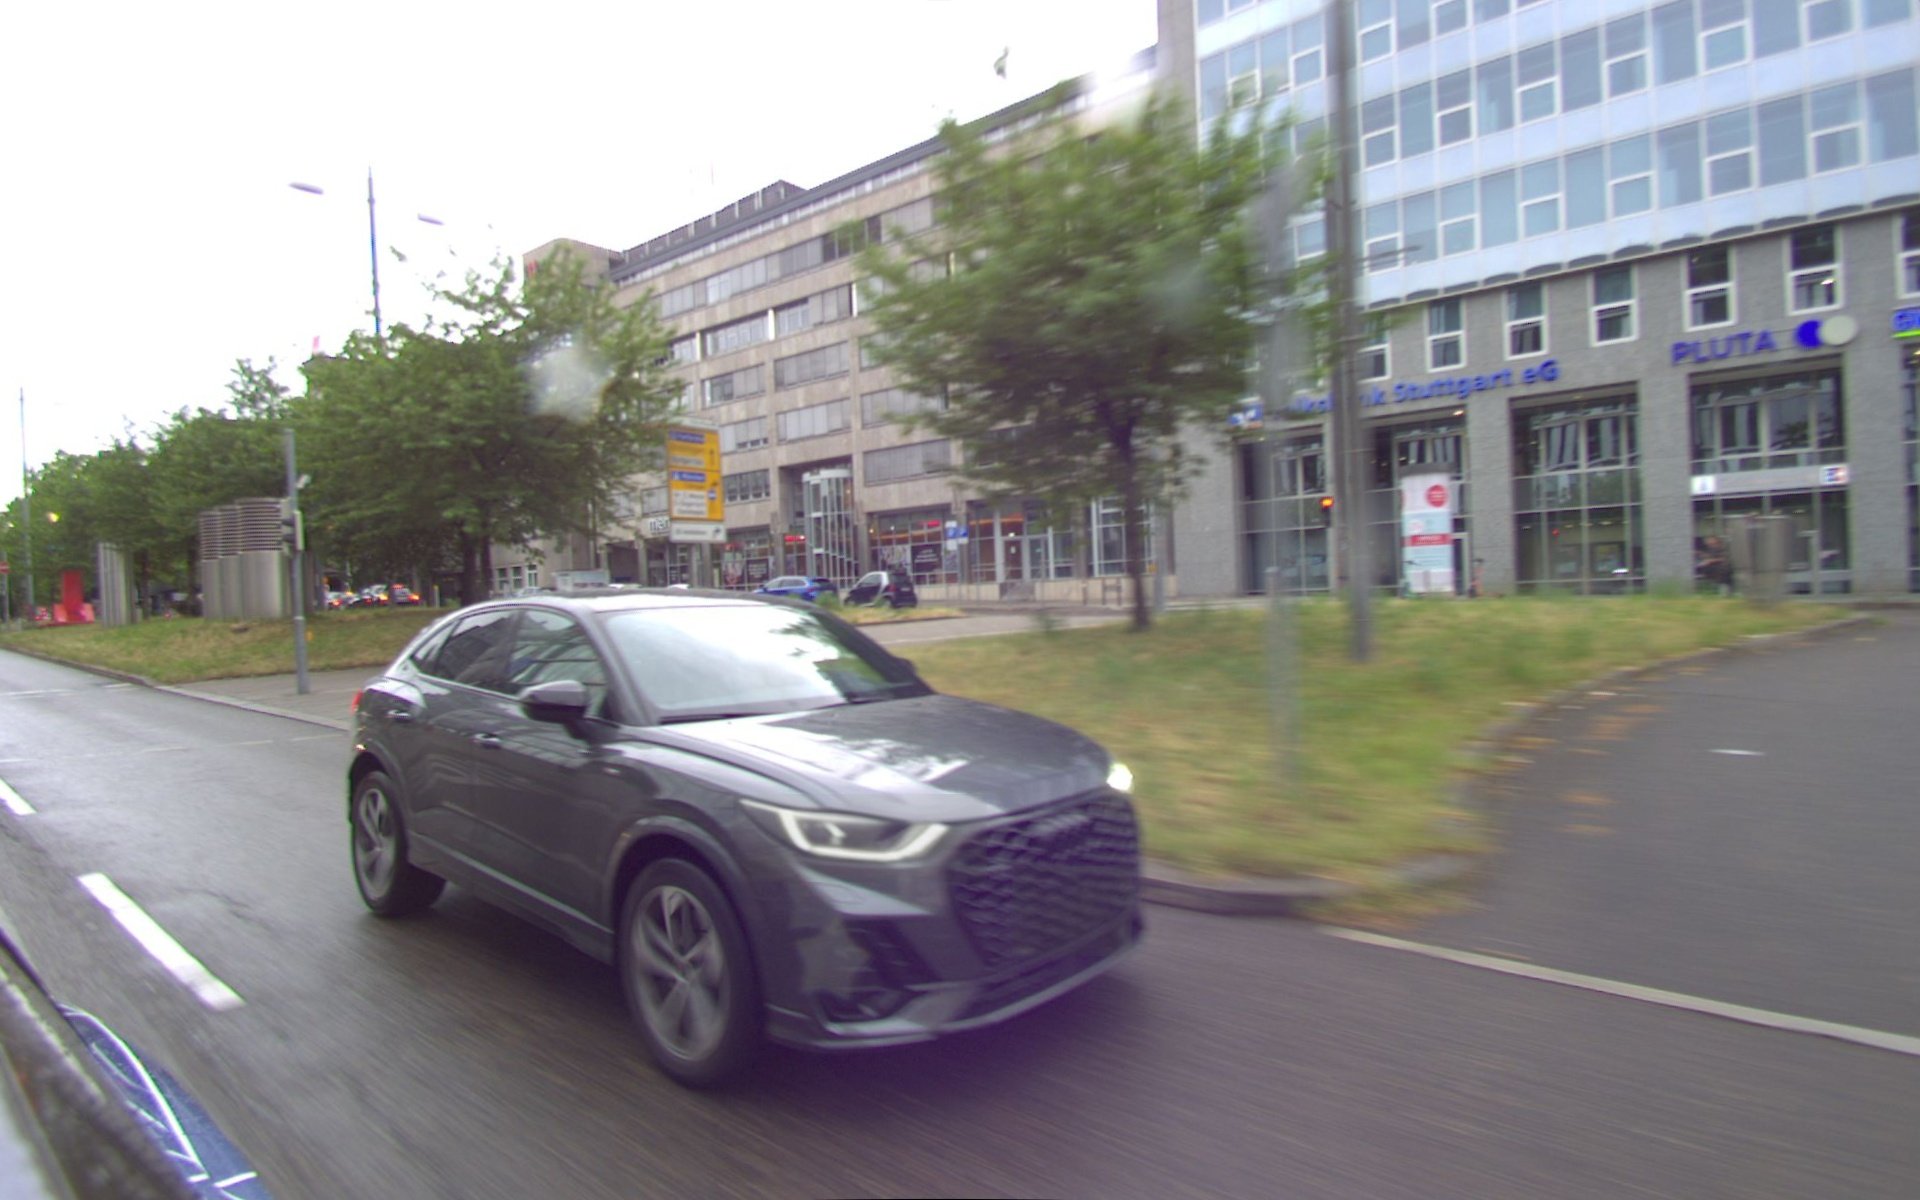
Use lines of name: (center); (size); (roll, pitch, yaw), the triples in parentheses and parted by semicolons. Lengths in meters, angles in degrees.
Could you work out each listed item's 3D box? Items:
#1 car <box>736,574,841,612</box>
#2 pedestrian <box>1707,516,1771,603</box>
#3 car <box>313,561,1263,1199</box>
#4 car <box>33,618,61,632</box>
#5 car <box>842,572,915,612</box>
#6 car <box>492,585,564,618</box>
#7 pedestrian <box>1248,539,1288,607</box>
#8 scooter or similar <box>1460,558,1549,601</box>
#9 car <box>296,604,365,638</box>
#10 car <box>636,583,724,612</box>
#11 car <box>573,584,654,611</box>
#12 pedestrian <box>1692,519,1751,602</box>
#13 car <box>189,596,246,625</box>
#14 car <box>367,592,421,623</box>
car: (-7.057, -0.269, 41.377); (4.312, 1.395, 1.660); (-1, 3, 37)
pedestrian: (18.866, -0.960, 24.543); (1.030, 2.029, 1.046); (-1, 1, 28)
car: (-1.122, 0.675, 4.485); (4.344, 1.529, 1.841); (-1, 1, 42)
car: (-116.459, 3.199, 129.057); (4.105, 1.599, 2.046); (-1, 3, 41)
car: (-3.095, -0.292, 38.321); (2.625, 1.395, 1.227); (-1, 3, 41)
car: (-22.803, 0.089, 53.408); (4.100, 1.591, 1.557); (-1, 3, 37)
pedestrian: (8.878, -0.766, 29.166); (0.928, 1.895, 0.950); (-1, 1, 28)
scooter or similar: (16.309, -0.609, 30.359); (2.243, 1.221, 0.765); (-1, 1, 37)
car: (-32.932, 1.099, 52.885); (4.105, 1.591, 1.856); (-1, 3, 41)
car: (-12.486, -0.112, 45.105); (4.100, 1.130, 1.557); (-1, 3, 37)
car: (-16.645, -0.094, 48.547); (4.100, 1.130, 1.557); (-1, 3, 37)
pedestrian: (19.153, -0.977, 25.473); (1.030, 2.029, 0.844); (-1, 1, 28)
car: (-45.305, 0.626, 61.720); (4.105, 1.591, 1.856); (-1, 3, 41)
car: (-27.366, 0.366, 48.937); (2.625, 1.395, 1.394); (-1, 3, 41)
